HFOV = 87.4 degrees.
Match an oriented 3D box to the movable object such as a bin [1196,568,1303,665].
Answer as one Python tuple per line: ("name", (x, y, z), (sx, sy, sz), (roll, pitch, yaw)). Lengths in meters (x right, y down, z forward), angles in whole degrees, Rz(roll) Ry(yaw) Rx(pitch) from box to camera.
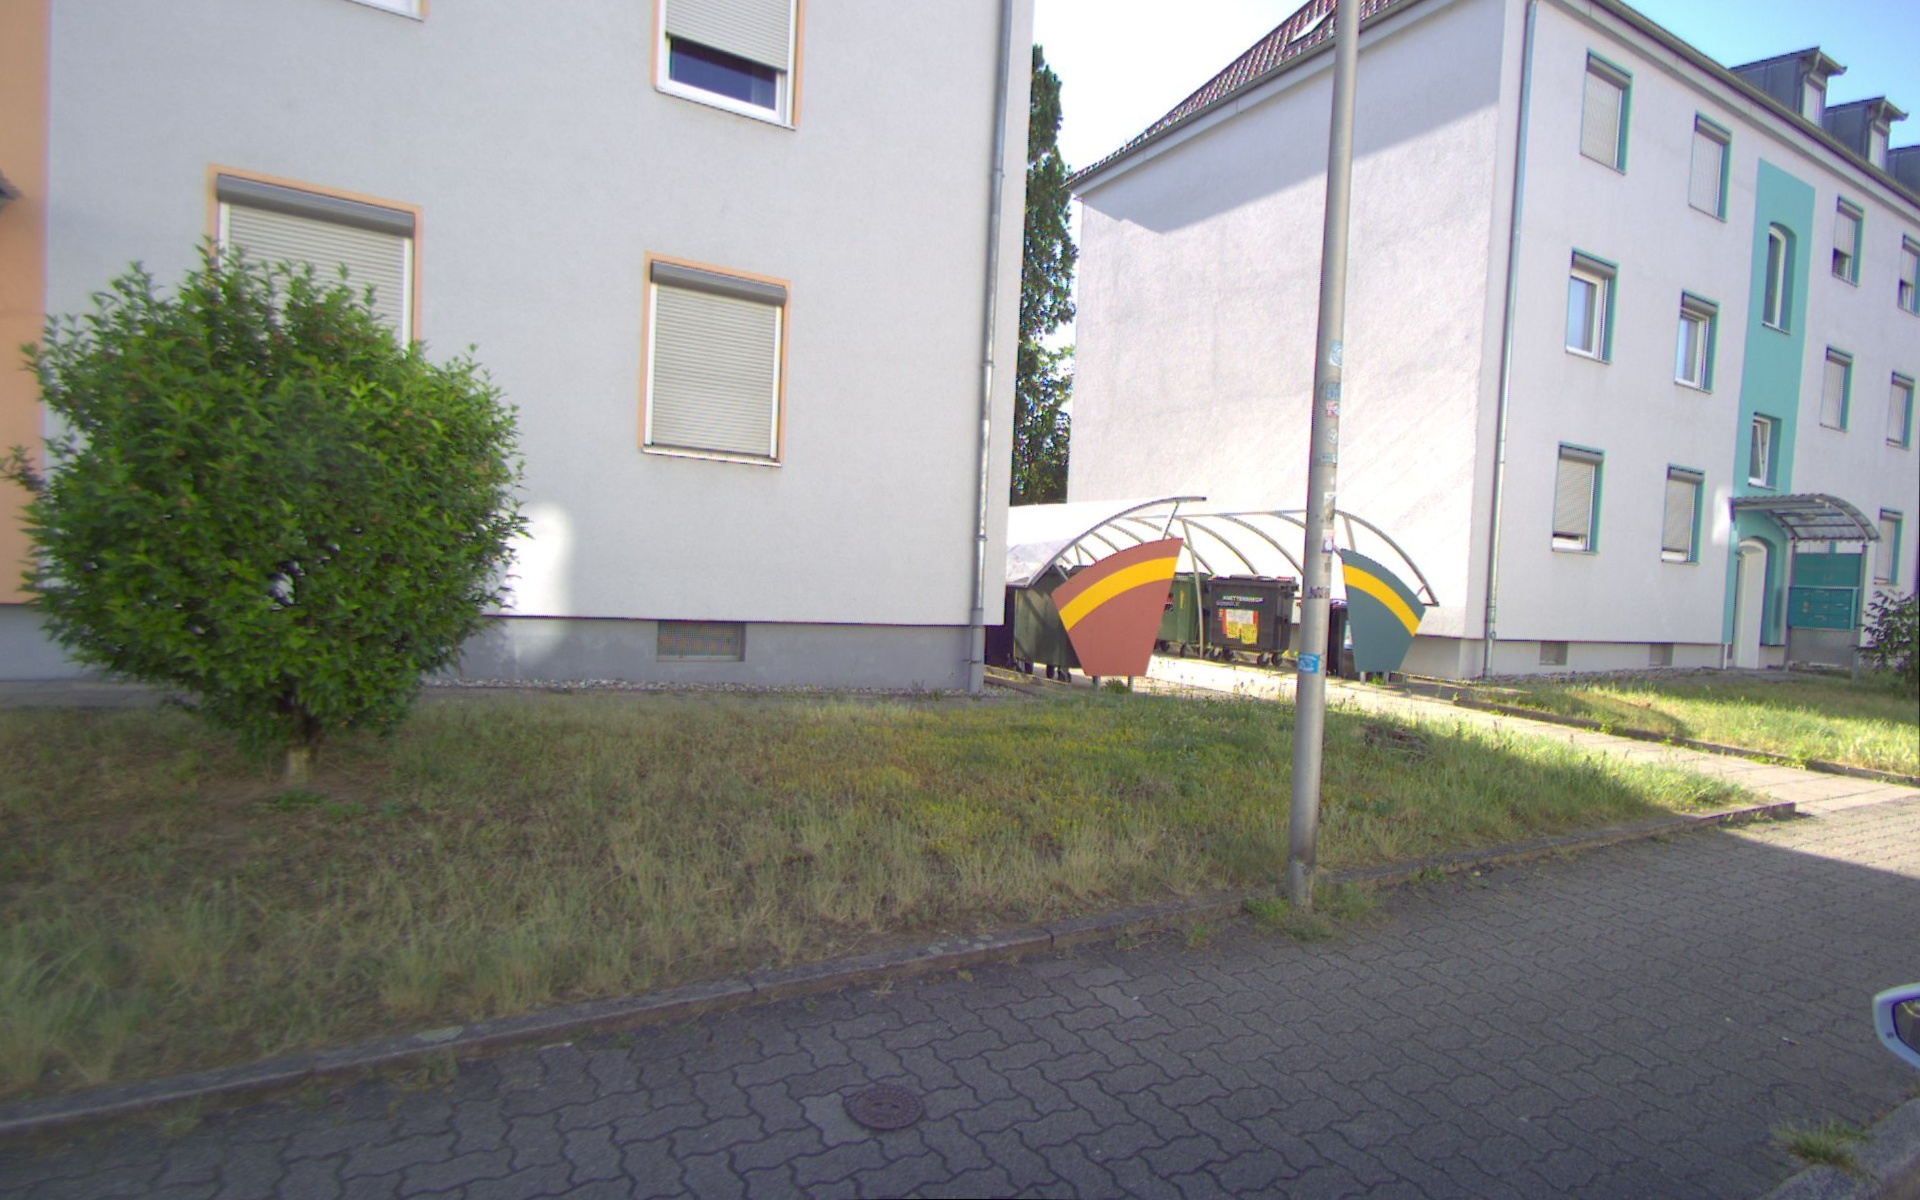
("movable object such as a bin", (4.426, 0.234, 15.403), (0.899, 1.374, 1.238), (1, 2, -41))

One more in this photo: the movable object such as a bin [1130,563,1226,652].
("movable object such as a bin", (3.553, 0.104, 16.412), (0.797, 1.366, 1.244), (1, 3, -40))

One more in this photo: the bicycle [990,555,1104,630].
("bicycle", (1.727, -0.134, 19.876), (2.172, 1.375, 0.699), (2, 3, -30))

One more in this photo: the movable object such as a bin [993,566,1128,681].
("movable object such as a bin", (1.128, 0.243, 11.484), (0.900, 1.184, 1.306), (1, 3, -30))

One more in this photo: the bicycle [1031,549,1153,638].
("bicycle", (2.436, -0.112, 18.459), (2.172, 1.530, 0.699), (2, 3, -30))

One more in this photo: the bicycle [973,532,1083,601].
("bicycle", (1.406, -0.679, 20.469), (2.172, 1.290, 0.699), (2, 3, -30))

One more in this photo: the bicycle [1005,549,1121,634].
("bicycle", (1.987, -0.150, 19.184), (2.172, 1.546, 0.660), (2, 3, -30))
